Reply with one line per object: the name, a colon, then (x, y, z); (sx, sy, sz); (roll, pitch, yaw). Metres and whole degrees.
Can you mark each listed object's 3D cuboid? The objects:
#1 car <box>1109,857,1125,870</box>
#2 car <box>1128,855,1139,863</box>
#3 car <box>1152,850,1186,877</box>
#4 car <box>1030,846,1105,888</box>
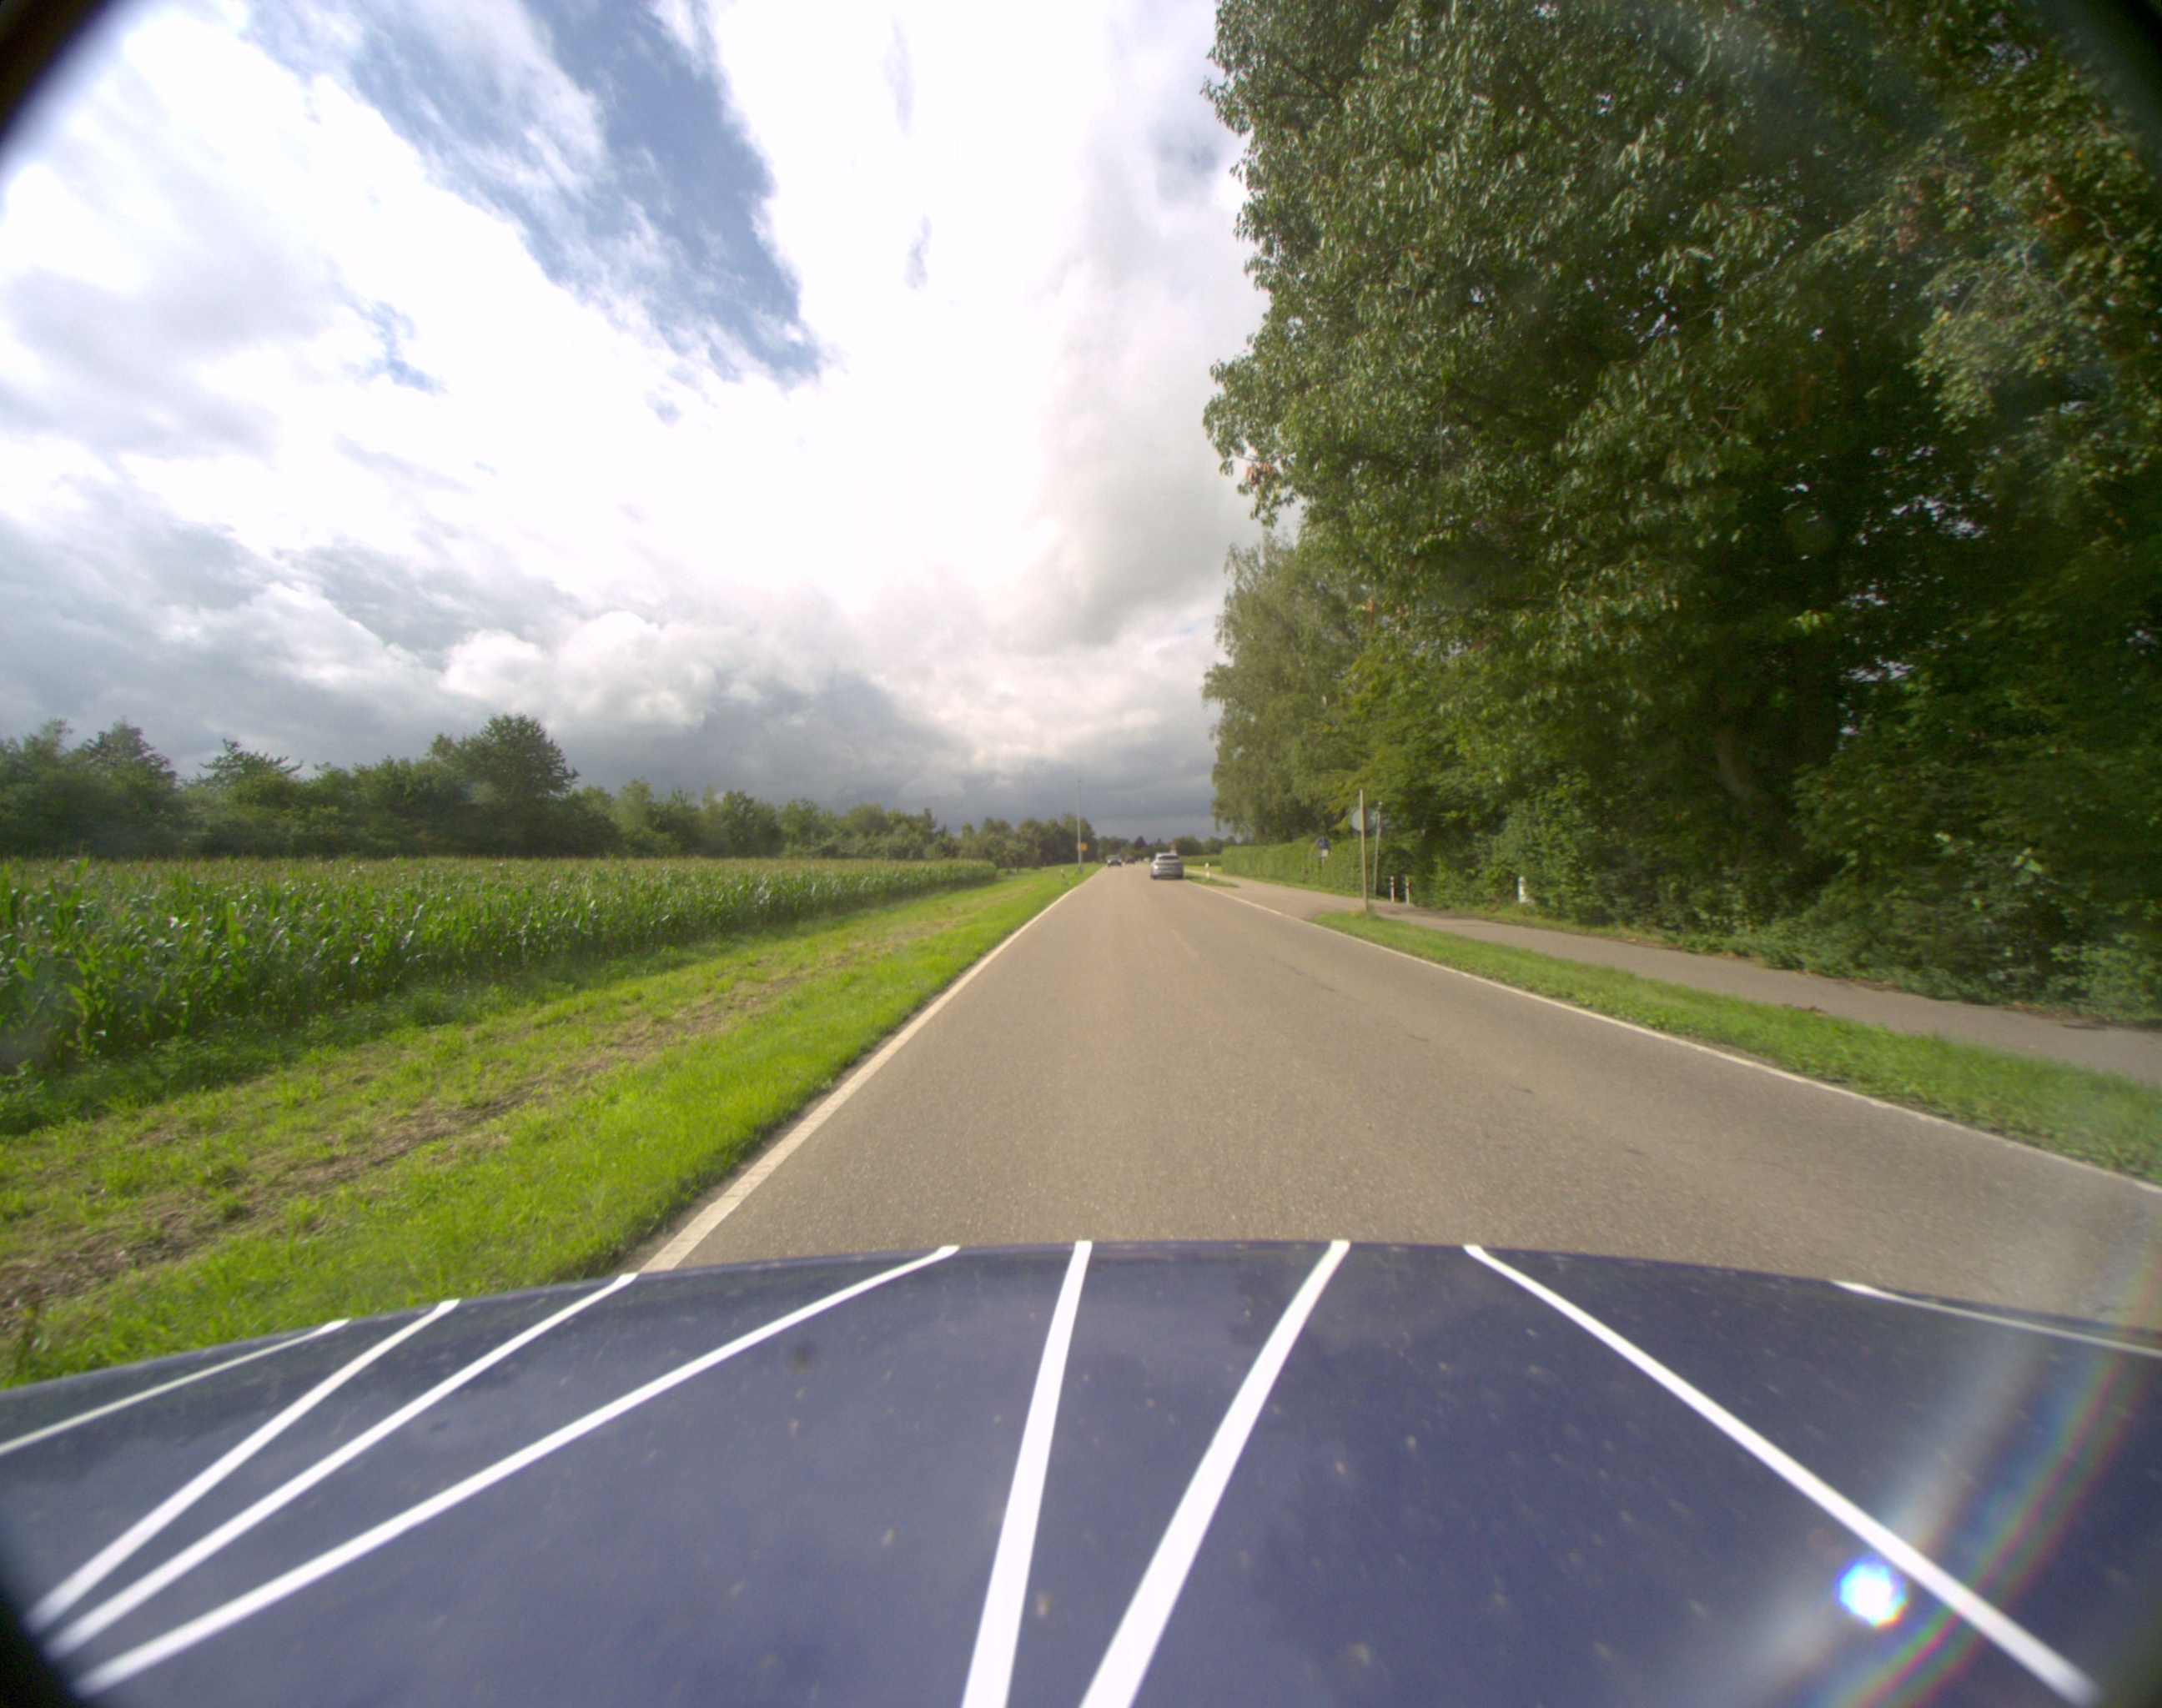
car: (4.872, 1.263, 103.007); (1.998, 1.594, 4.001); (-2, 0, 3)
car: (9.412, 0.878, 136.327); (1.744, 1.462, 4.001); (0, 0, 3)
car: (5.483, 0.562, 47.685); (1.815, 1.641, 4.293); (0, 0, 3)
car: (-0.766, 0.690, 40.404); (2.003, 2.002, 3.990); (-4, 1, -33)
